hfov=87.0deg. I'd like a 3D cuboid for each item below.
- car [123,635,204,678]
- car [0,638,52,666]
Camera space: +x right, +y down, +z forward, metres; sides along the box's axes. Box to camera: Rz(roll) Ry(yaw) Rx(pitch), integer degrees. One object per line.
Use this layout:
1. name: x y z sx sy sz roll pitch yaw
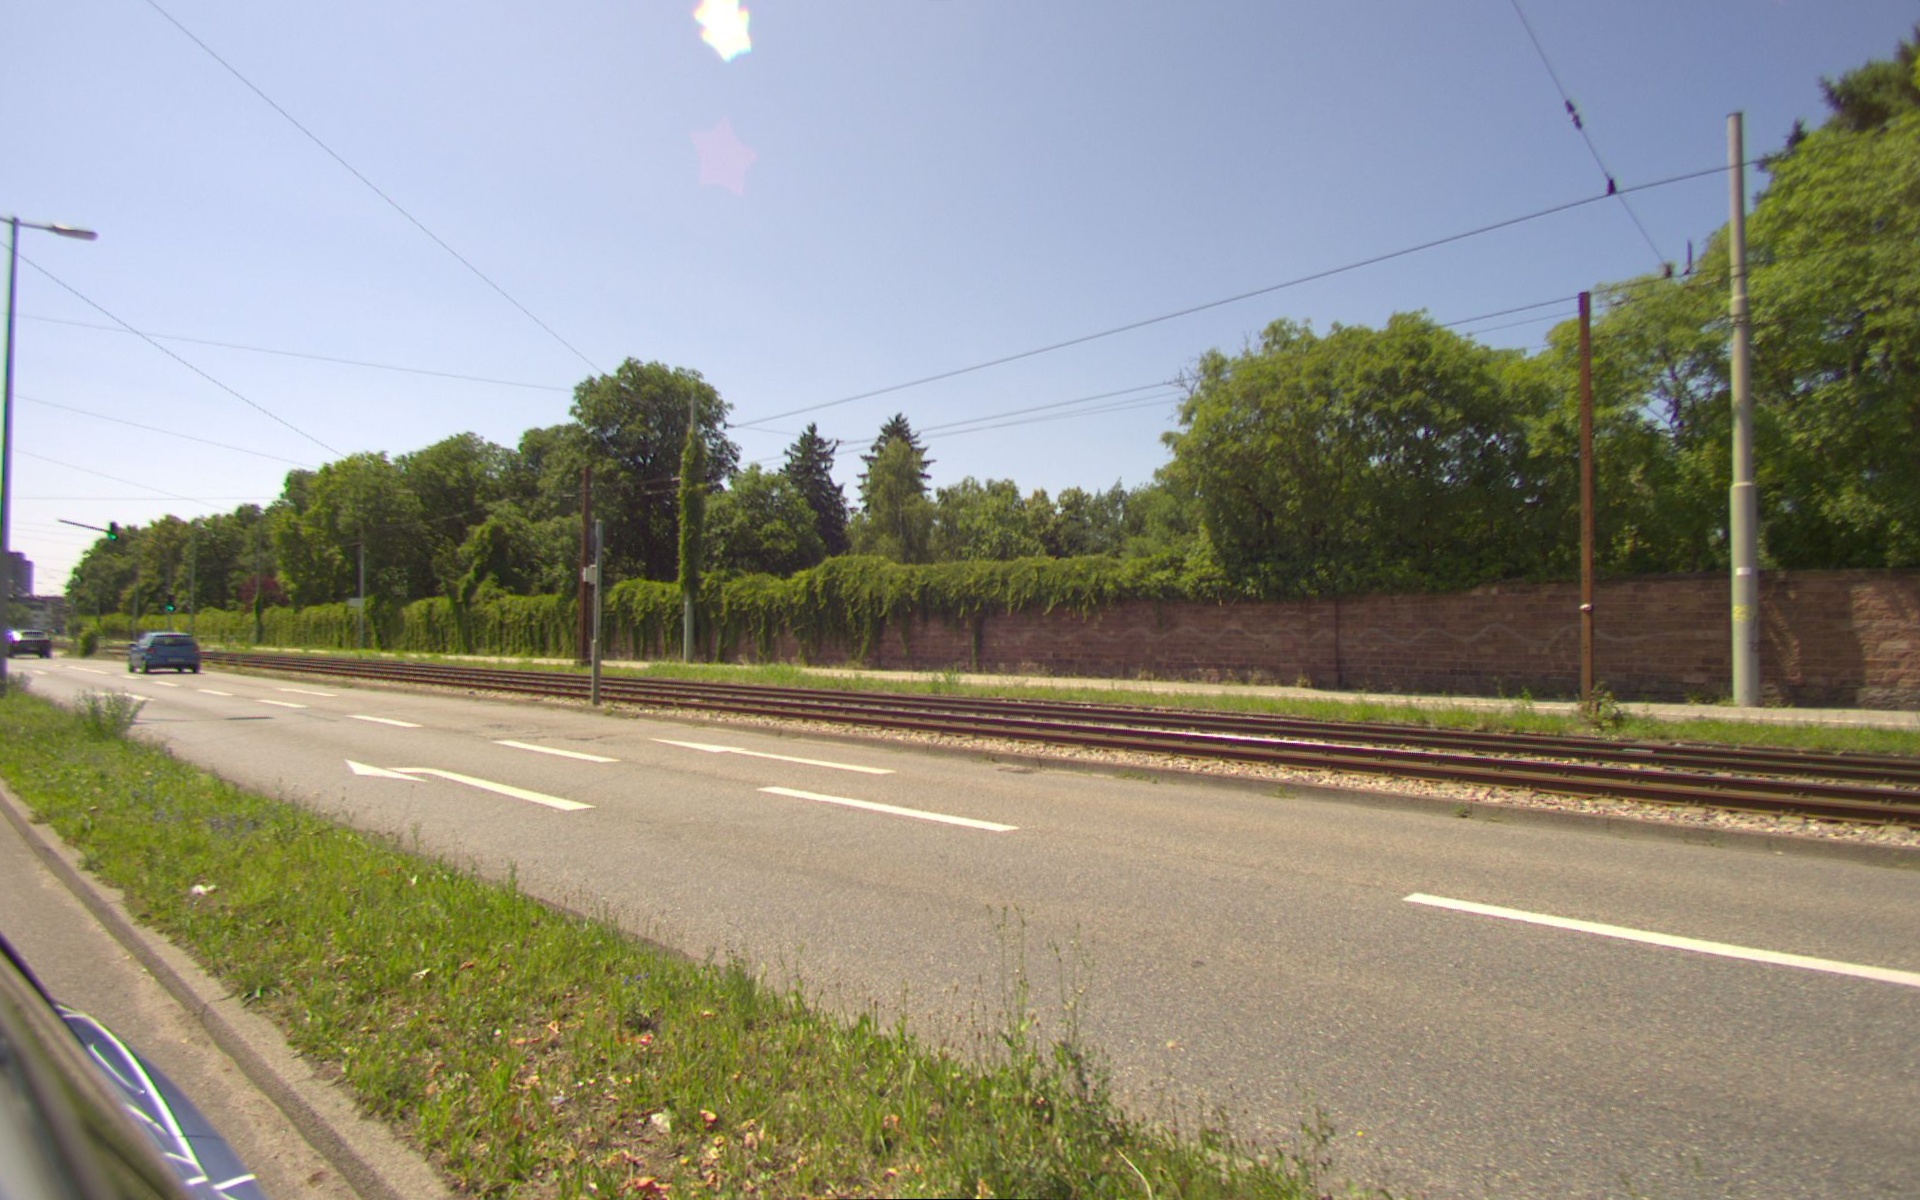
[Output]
1. car: -28.630 2.024 36.350 3.790 1.482 1.676 -2 -4 43
2. car: -51.719 2.873 55.932 4.094 1.532 1.743 -2 -4 41
